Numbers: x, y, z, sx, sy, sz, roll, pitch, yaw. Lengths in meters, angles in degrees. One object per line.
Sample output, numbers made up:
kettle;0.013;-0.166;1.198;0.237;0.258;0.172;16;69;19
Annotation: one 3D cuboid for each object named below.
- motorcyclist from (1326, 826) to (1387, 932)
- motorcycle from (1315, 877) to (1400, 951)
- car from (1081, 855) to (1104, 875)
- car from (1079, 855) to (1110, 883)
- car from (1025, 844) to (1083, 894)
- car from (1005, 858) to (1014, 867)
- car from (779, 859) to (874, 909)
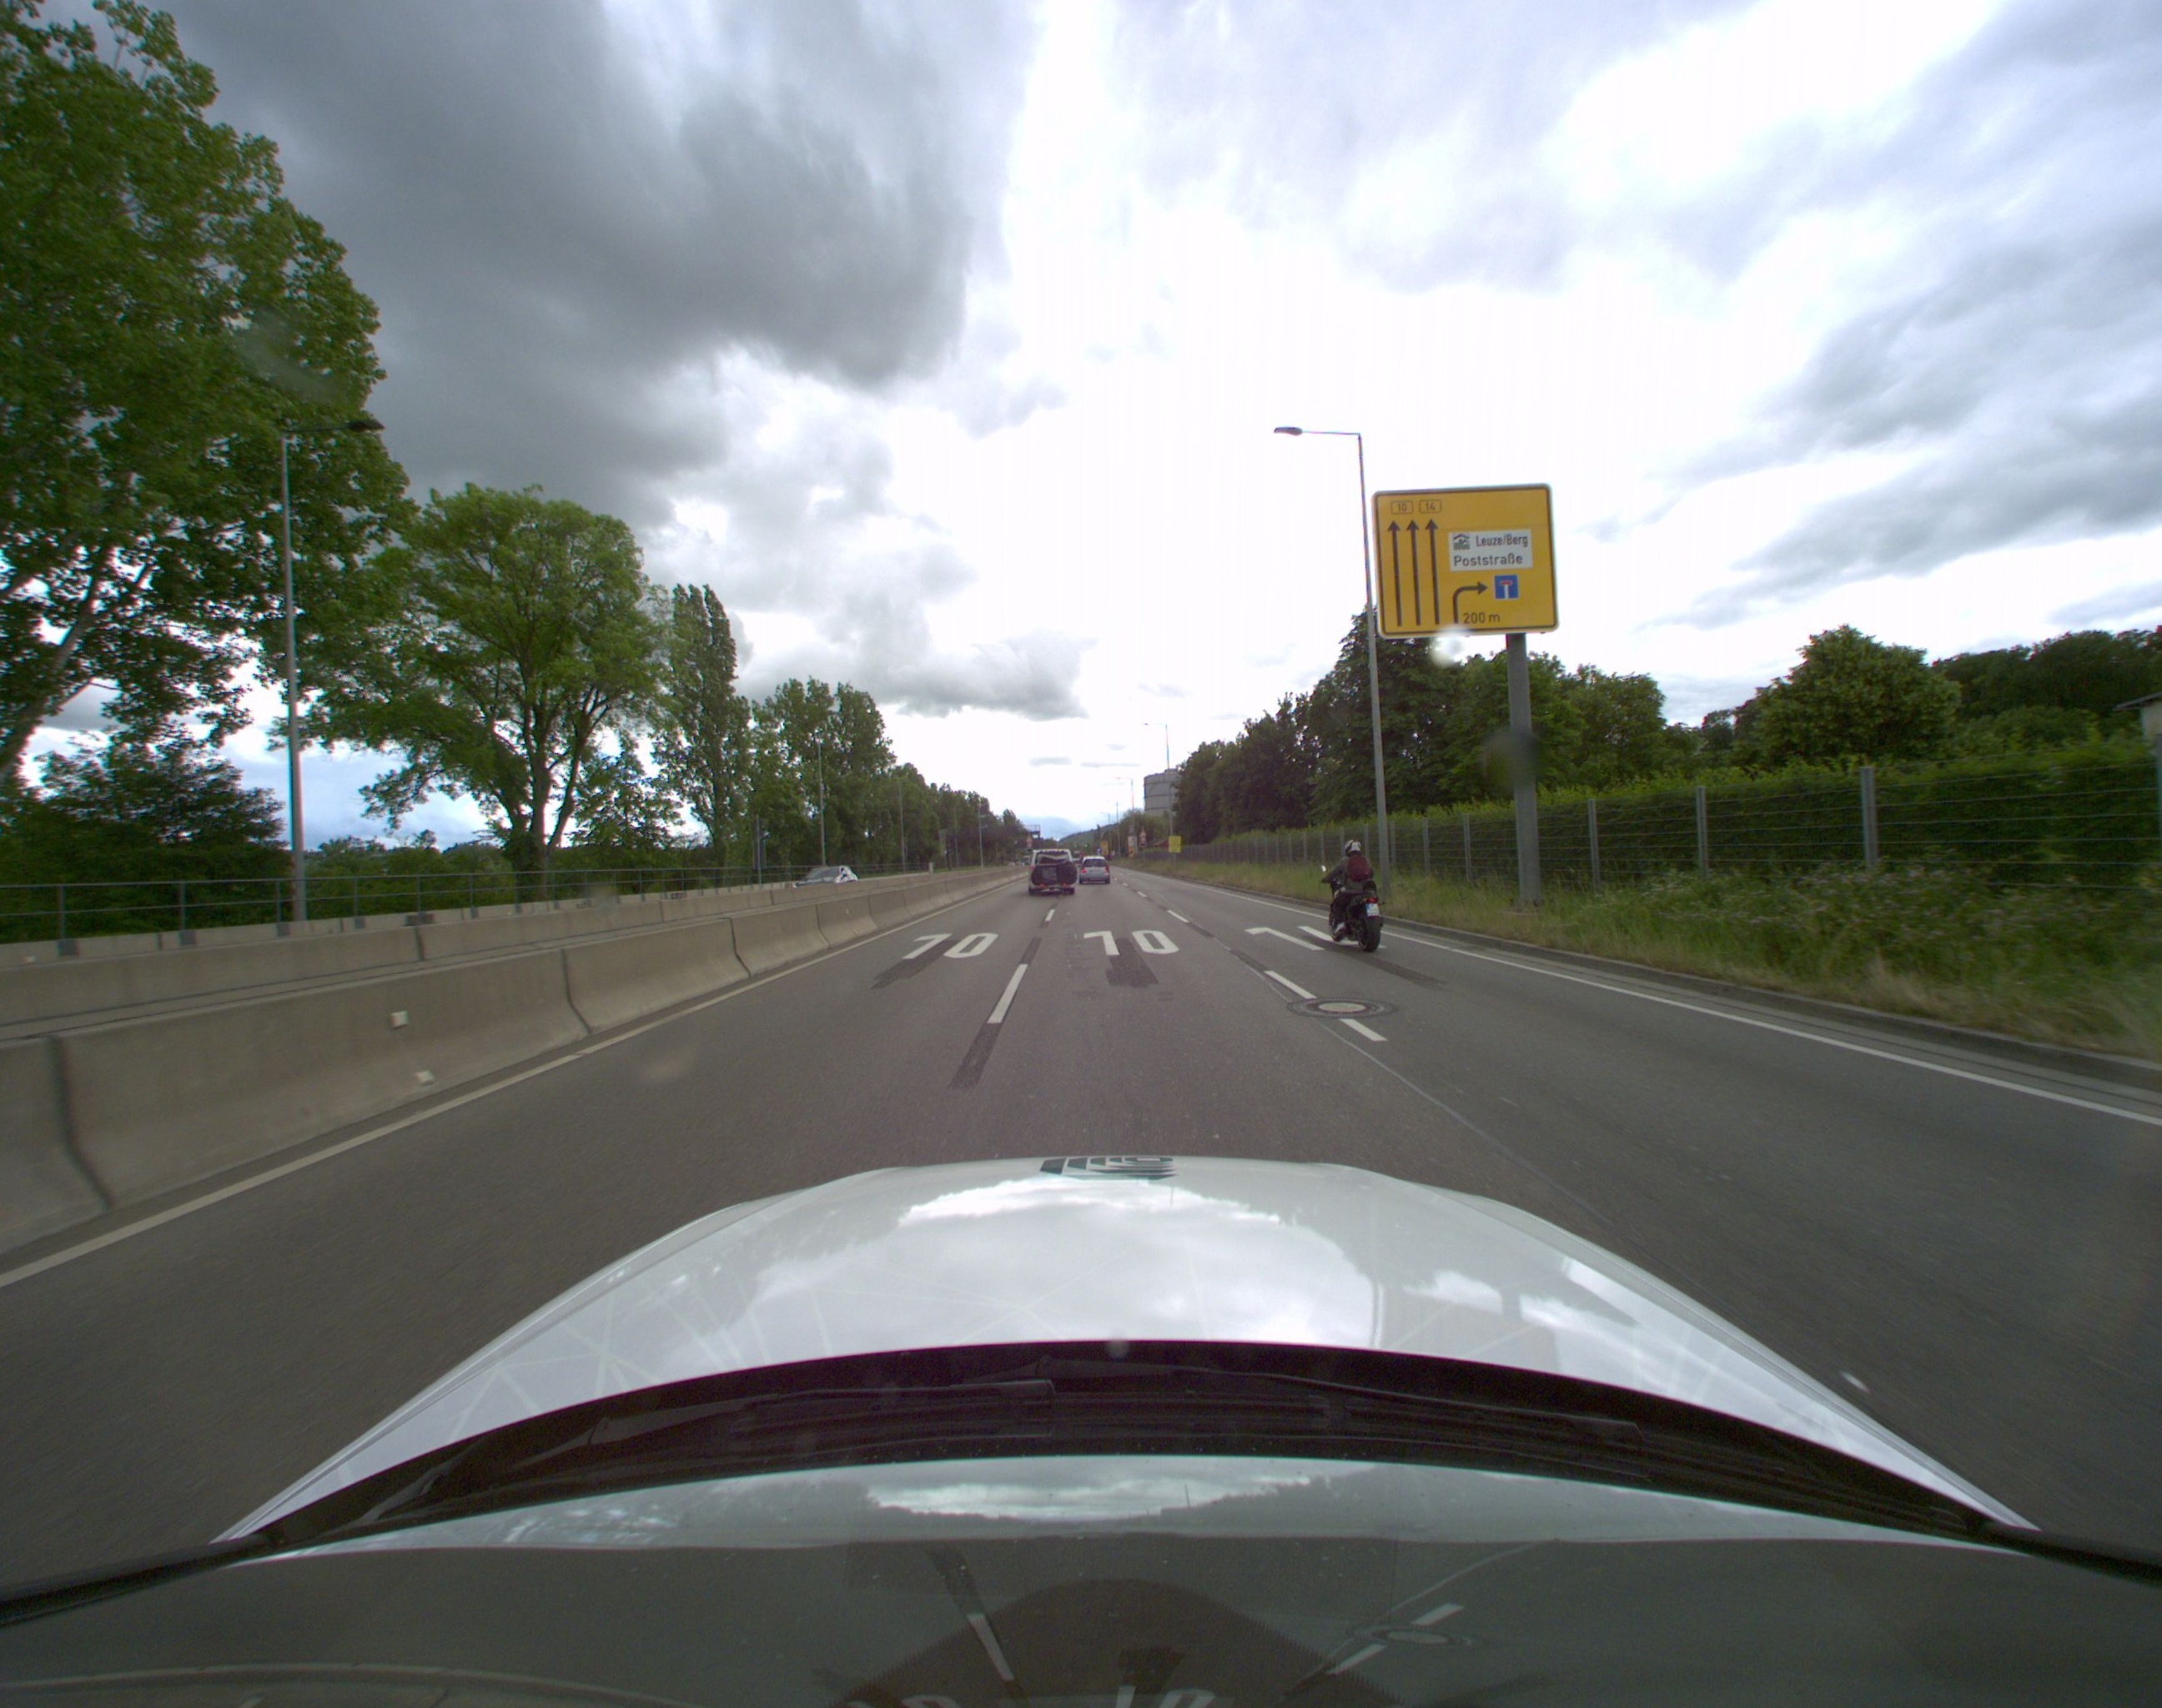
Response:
motorcyclist;4.294;0.380;12.735;0.682;1.610;0.845;0;-1;1
motorcycle;4.299;0.899;12.825;0.704;1.040;2.027;0;-1;2
car;0.980;0.933;71.294;1.901;1.684;4.000;0;-1;0
car;0.775;0.851;47.479;1.705;1.530;3.999;0;-1;0
car;-1.171;0.596;34.093;2.210;1.926;4.996;0;-1;-3
car;-17.582;2.123;201.721;1.988;2.014;3.997;0;-1;-2
car;-10.449;1.188;33.914;2.321;1.926;5.002;0;-1;0
